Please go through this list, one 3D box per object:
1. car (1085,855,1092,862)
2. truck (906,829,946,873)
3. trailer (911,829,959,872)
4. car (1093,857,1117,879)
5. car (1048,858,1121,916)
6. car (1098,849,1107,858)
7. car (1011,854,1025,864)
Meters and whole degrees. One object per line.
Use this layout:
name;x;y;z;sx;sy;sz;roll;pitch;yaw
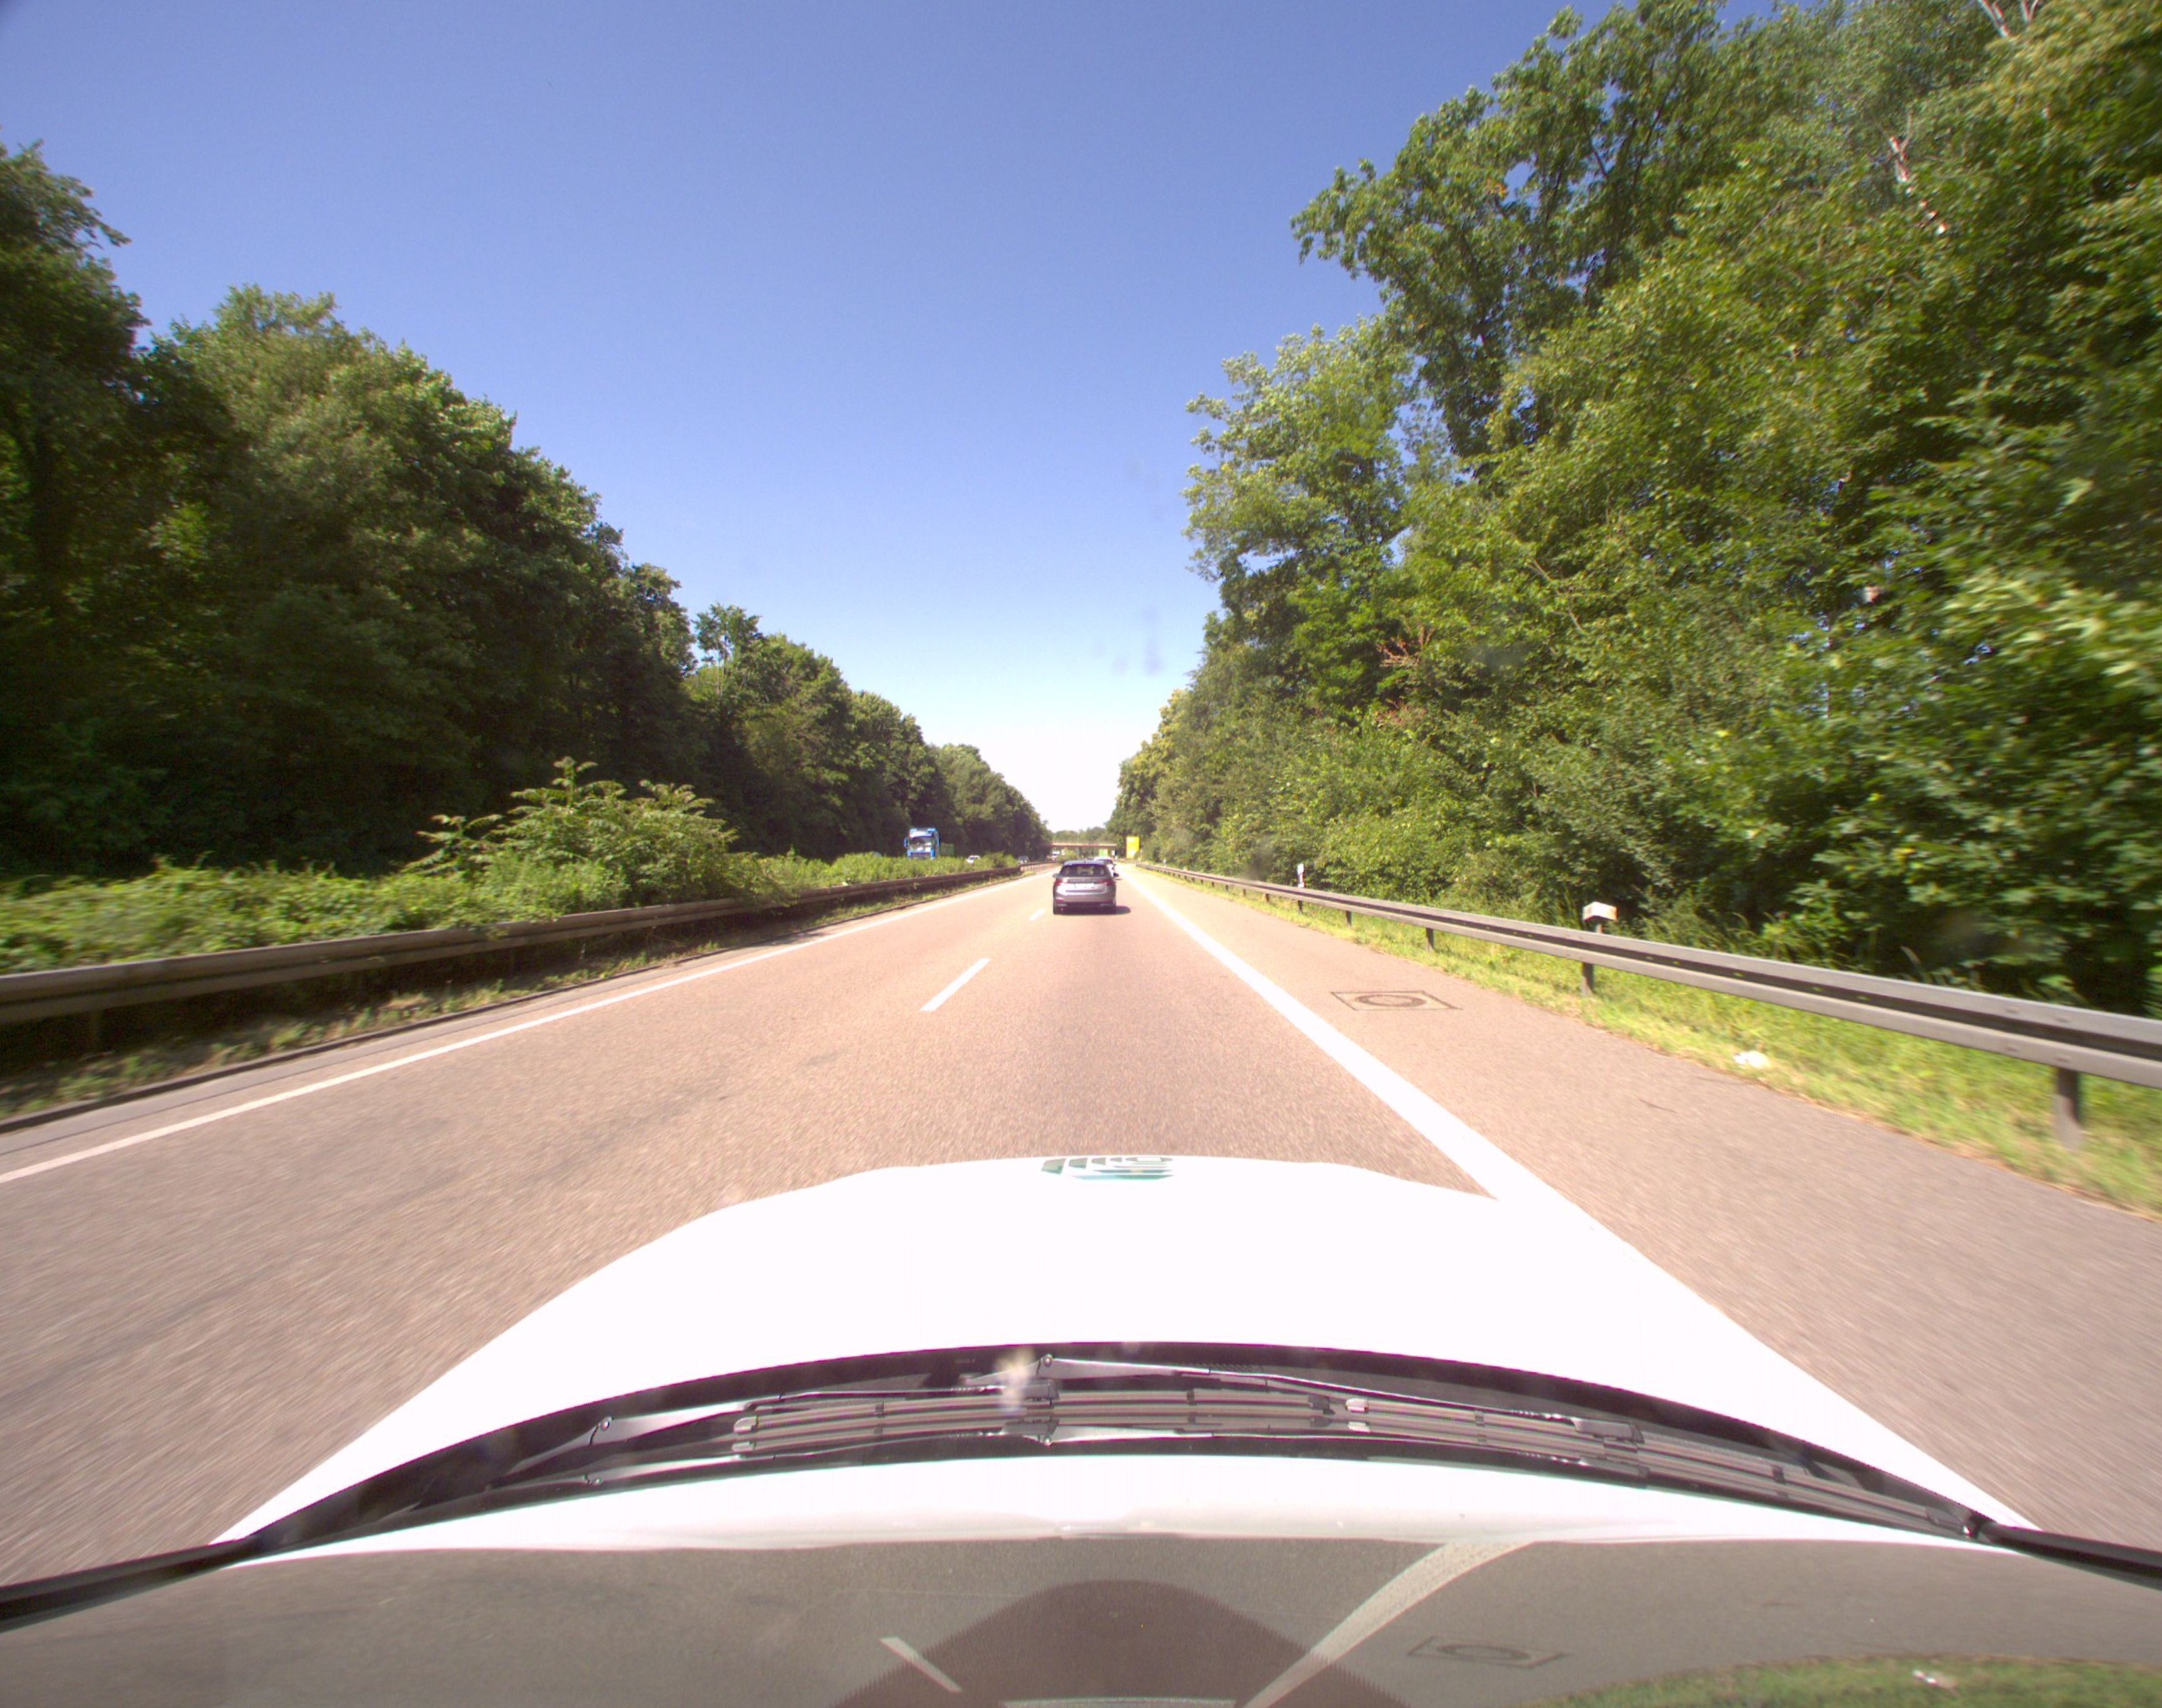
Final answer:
car;2.052;1.271;224.022;1.986;2.014;4.001;0;-1;2
truck;-13.453;-0.225;70.883;2.636;3.706;4.002;0;-1;2
trailer;-13.270;-0.266;74.621;2.678;3.712;7.987;0;-1;2
car;1.682;0.944;55.710;1.516;1.446;3.343;0;0;3
car;0.167;0.857;22.698;1.832;1.472;3.626;0;0;3
car;6.367;-0.077;243.178;2.738;2.654;4.001;0;-1;2
car;-9.778;0.745;126.525;1.665;1.473;3.626;0;-1;3
